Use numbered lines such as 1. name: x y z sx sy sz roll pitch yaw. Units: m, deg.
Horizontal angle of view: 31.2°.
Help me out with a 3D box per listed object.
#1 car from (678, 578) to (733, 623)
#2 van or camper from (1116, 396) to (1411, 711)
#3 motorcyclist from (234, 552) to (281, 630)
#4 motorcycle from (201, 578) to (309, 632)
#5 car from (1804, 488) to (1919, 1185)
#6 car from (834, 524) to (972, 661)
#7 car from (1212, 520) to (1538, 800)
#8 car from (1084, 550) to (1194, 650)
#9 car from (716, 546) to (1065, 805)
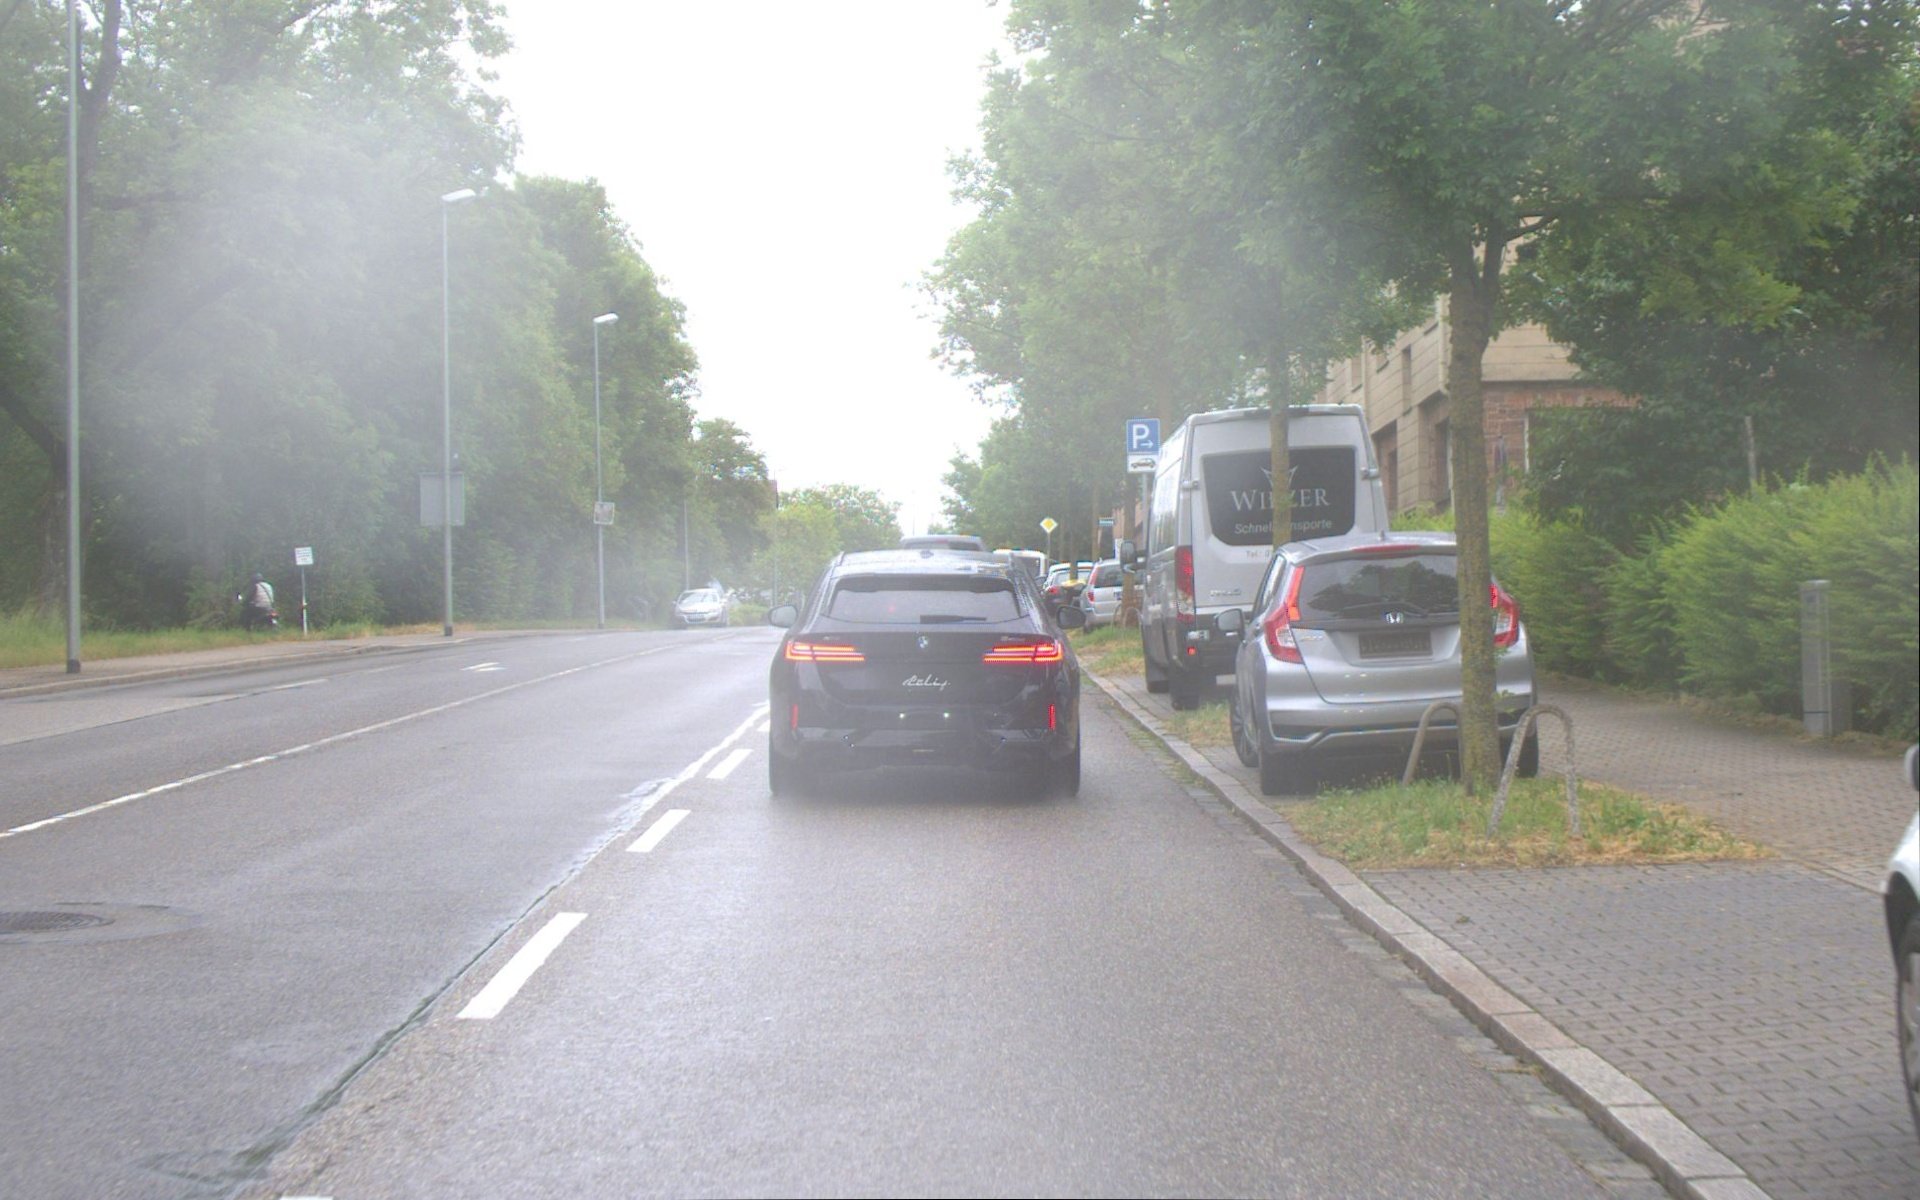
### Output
1. car: -8.981 0.003 121.509 1.689 1.478 4.452 -3 0 -2
2. van or camper: 2.800 -0.473 33.471 2.198 2.642 7.301 -2 1 1
3. motorcyclist: -15.192 -0.195 74.387 0.650 1.675 0.812 1 1 20
4. motorcycle: -15.268 0.095 74.428 2.184 1.114 0.823 1 1 21
5. car: 3.018 0.531 6.637 1.824 1.597 4.473 -2 1 3
6. car: -0.834 -0.119 52.384 1.993 2.007 4.000 0 0 0
7. car: 2.542 0.321 21.813 1.668 1.523 3.831 -4 1 3
8. car: 3.167 -0.036 61.474 1.702 1.579 4.643 -4 1 1
9. car: -0.436 0.430 22.073 1.993 1.448 4.000 2 0 -1
